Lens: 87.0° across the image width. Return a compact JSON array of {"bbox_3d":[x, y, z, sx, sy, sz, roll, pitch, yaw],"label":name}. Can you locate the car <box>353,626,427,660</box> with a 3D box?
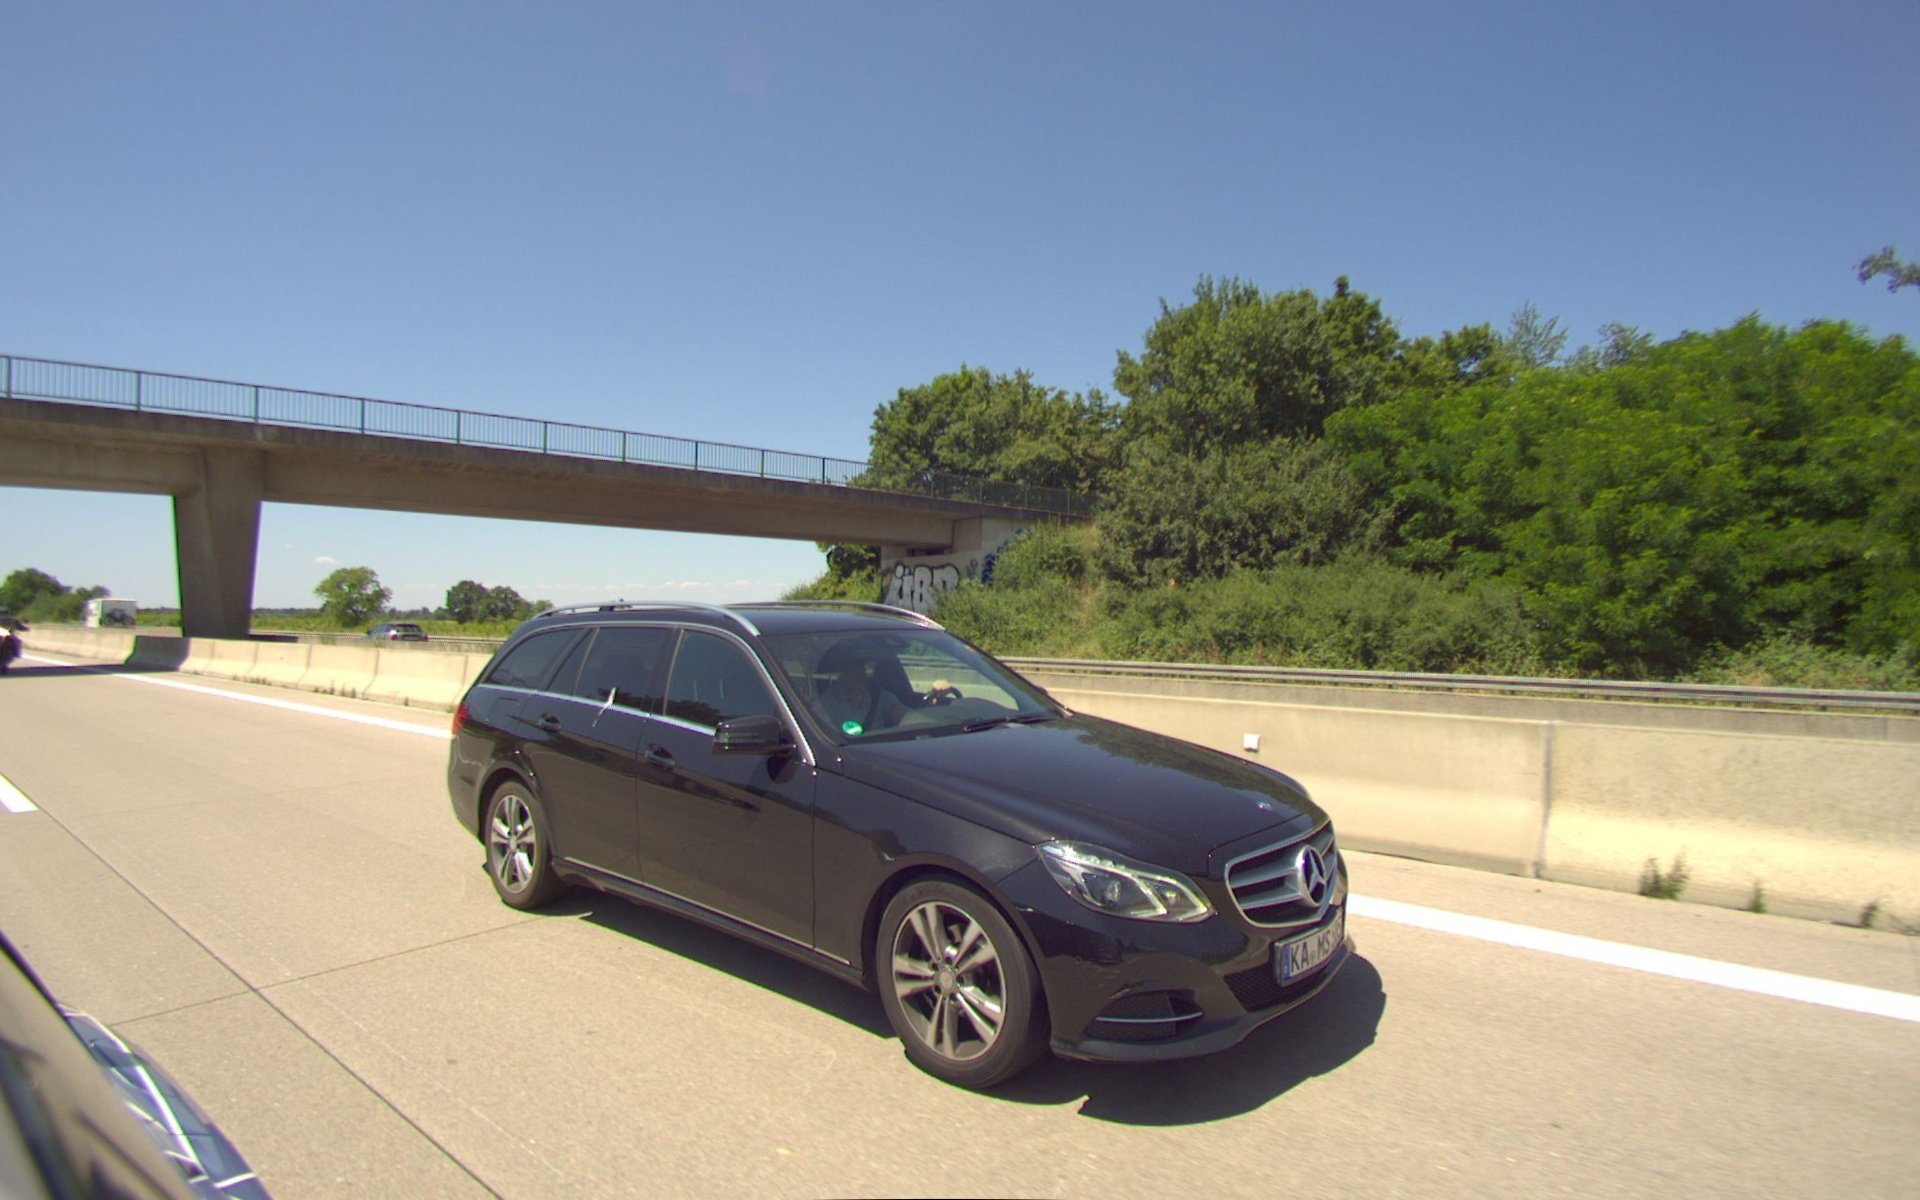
[{"bbox_3d":[-24.021,1.784,42.619,3.630,1.329,1.549,-1,-2,41],"label":"car"}]

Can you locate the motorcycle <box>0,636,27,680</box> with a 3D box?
[{"bbox_3d":[-24.225,1.438,25.407,2.413,1.057,1.010,-2,-3,44],"label":"motorcycle"}]

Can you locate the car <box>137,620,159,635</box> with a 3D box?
[{"bbox_3d":[-89.589,3.031,111.640,3.101,1.595,1.383,-1,-1,42],"label":"car"}]

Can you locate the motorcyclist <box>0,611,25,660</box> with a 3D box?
[{"bbox_3d":[-24.186,0.896,25.375,0.911,1.218,1.013,-2,-2,44],"label":"motorcyclist"}]

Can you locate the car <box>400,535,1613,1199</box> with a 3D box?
[{"bbox_3d":[-0.474,0.671,4.625,5.601,1.484,1.871,-1,-2,41],"label":"car"}]

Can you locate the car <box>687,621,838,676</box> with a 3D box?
[{"bbox_3d":[-5.269,1.231,26.654,4.369,1.329,1.549,-1,-2,41],"label":"car"}]

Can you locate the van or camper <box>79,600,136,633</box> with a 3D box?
[{"bbox_3d":[-66.997,1.297,79.441,7.797,2.462,2.226,-1,0,41],"label":"van or camper"}]
